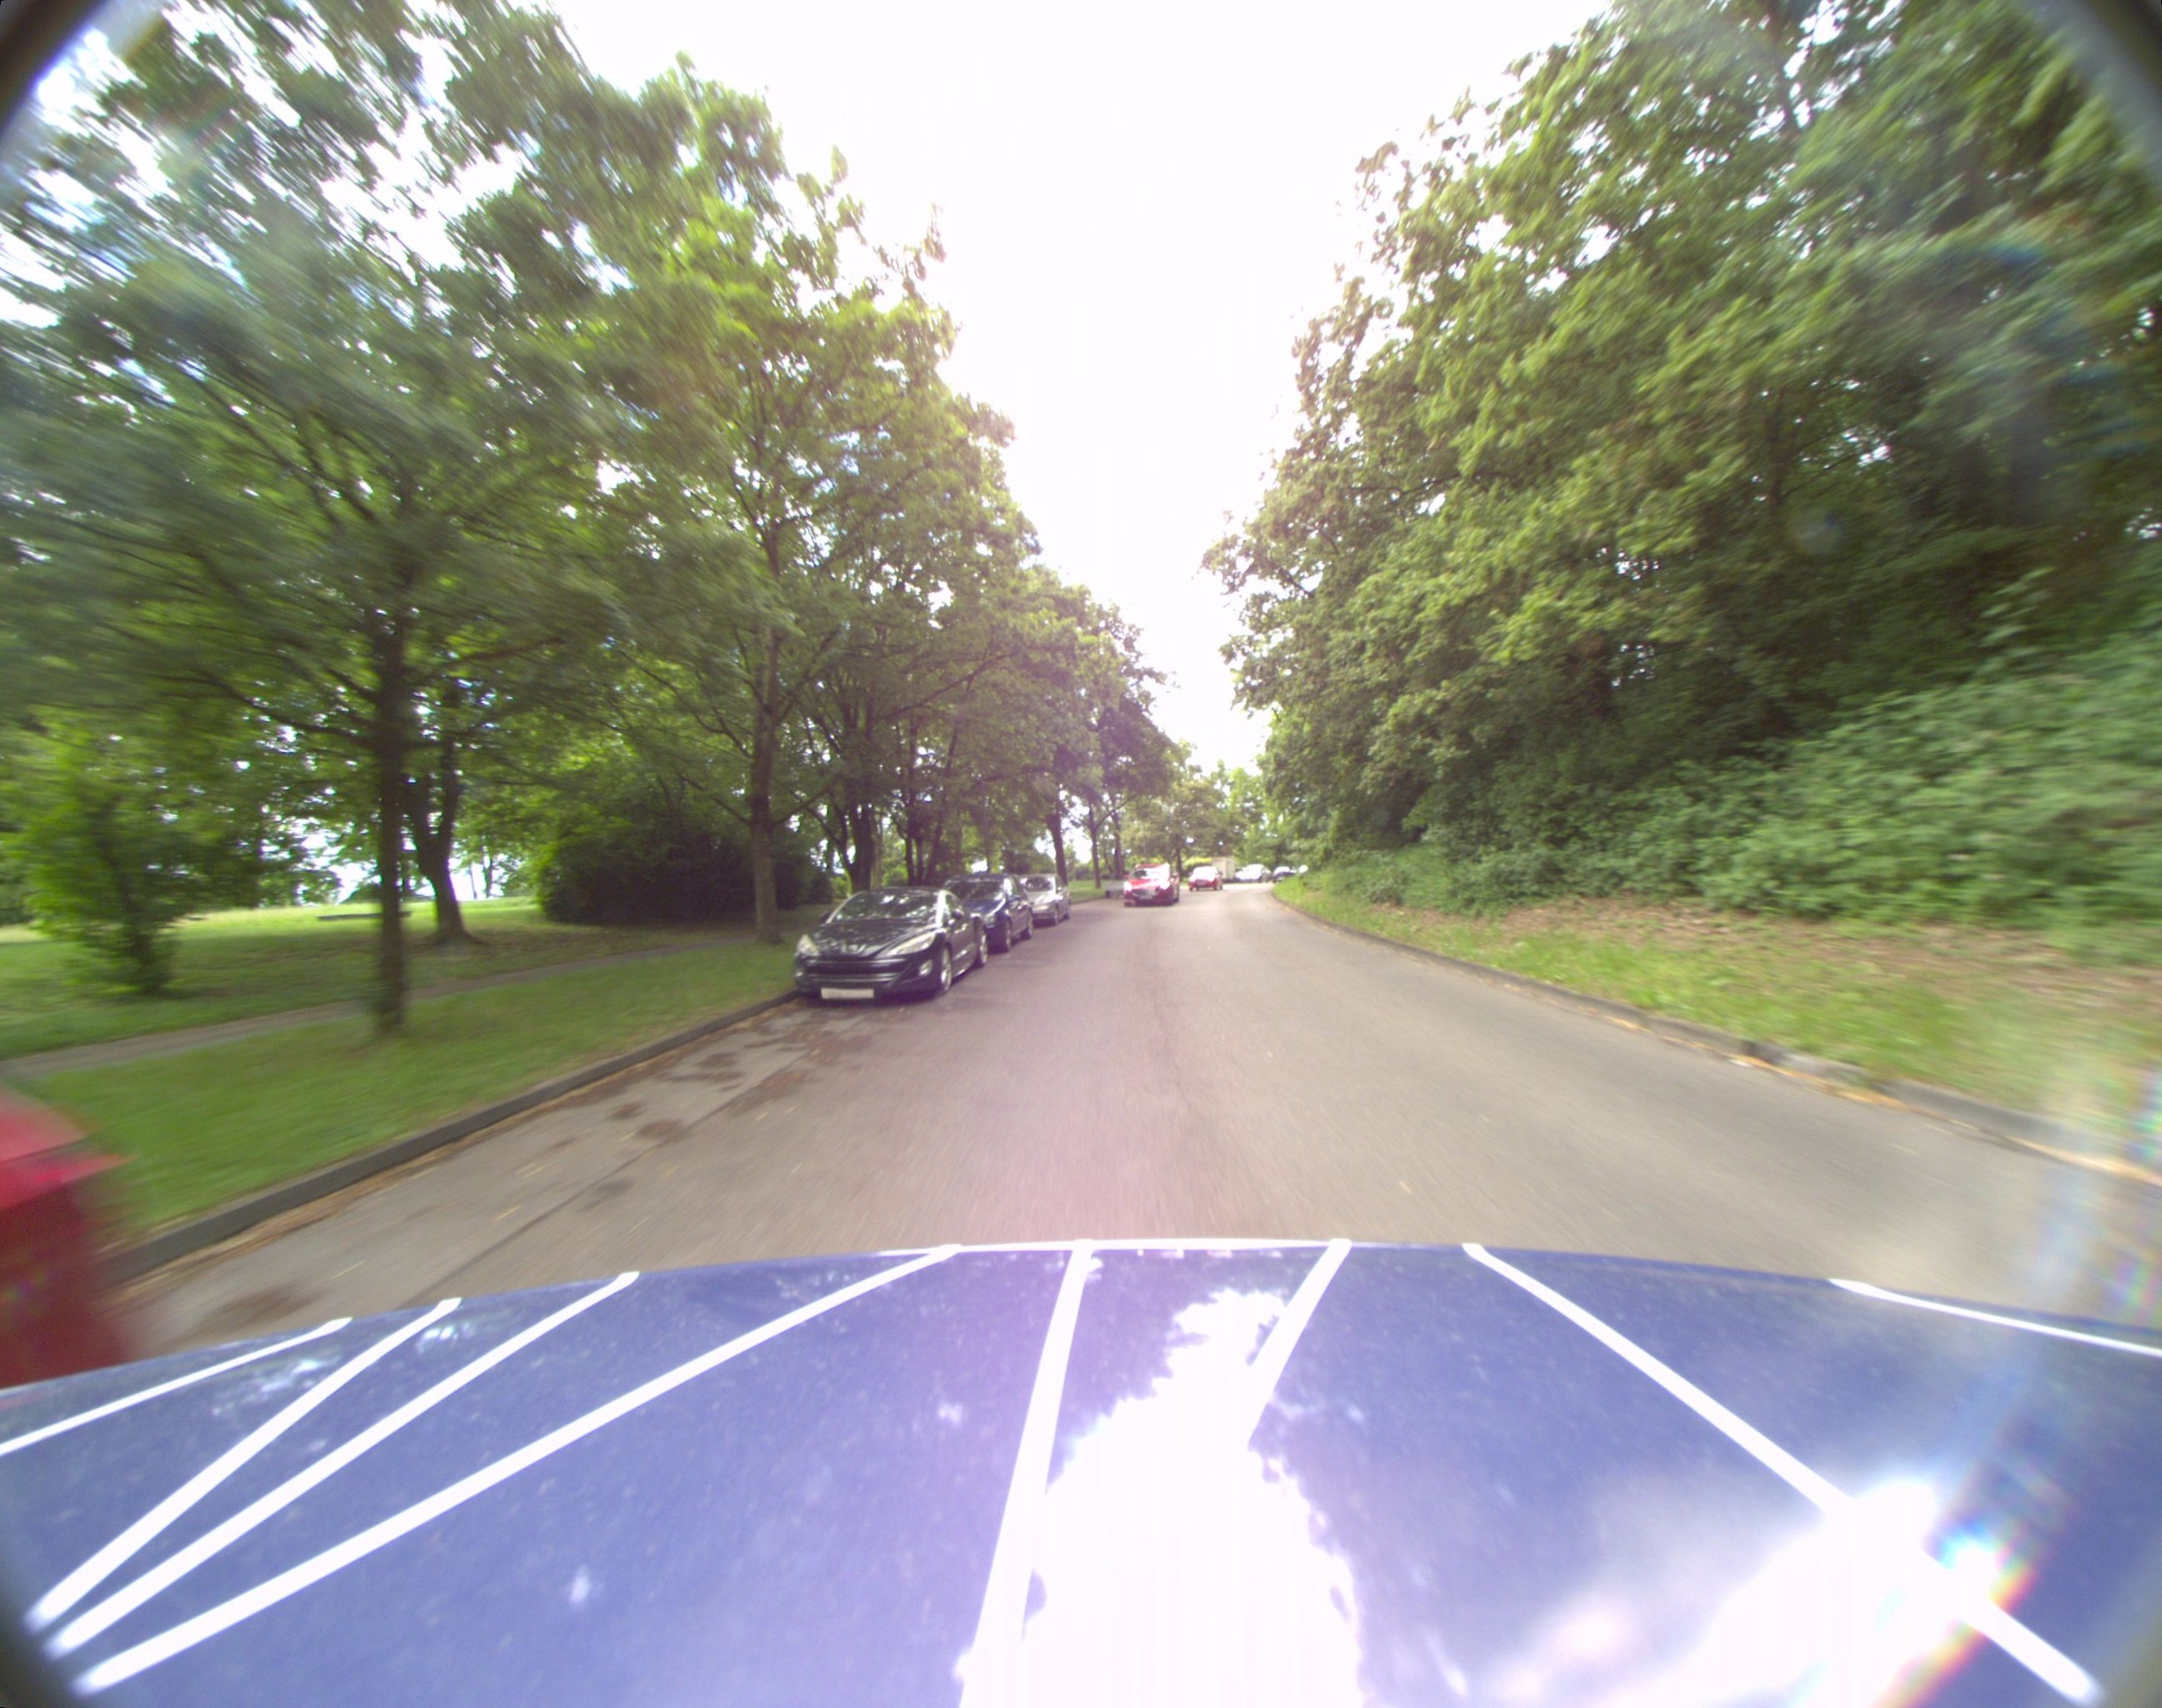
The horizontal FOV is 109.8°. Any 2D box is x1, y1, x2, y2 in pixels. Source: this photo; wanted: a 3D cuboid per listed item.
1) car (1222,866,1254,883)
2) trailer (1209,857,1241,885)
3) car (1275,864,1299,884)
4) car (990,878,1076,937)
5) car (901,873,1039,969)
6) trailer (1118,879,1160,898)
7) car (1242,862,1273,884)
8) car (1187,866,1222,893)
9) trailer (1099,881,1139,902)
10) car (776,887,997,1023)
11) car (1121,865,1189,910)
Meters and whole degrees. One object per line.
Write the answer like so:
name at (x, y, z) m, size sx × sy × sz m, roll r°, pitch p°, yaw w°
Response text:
car at (15.120, 1.971, 72.998) m, size 1.742 × 1.516 × 4.644 m, roll -2°, pitch -1°, yaw 27°
trailer at (12.914, 1.476, 68.000) m, size 1.762 × 2.412 × 3.894 m, roll -2°, pitch -1°, yaw 26°
car at (17.277, 1.653, 63.802) m, size 1.794 × 1.380 × 4.496 m, roll -4°, pitch -1°, yaw 14°
car at (-1.279, 1.471, 21.900) m, size 1.721 × 1.423 × 3.951 m, roll -1°, pitch 0°, yaw 7°
car at (-2.089, 1.241, 15.546) m, size 1.718 × 1.500 × 4.183 m, roll -4°, pitch -1°, yaw 6°
trailer at (3.439, 1.995, 44.495) m, size 1.359 × 0.963 × 3.899 m, roll -4°, pitch -2°, yaw 21°
car at (15.361, 1.608, 66.046) m, size 1.920 × 1.671 × 4.006 m, roll -2°, pitch 1°, yaw 22°
car at (7.772, 1.579, 47.961) m, size 1.866 × 1.440 × 4.176 m, roll 1°, pitch 2°, yaw 5°
trailer at (2.023, 1.933, 39.901) m, size 1.365 × 0.842 × 3.282 m, roll -4°, pitch -1°, yaw 15°
car at (-2.444, 1.239, 10.784) m, size 1.754 × 1.329 × 4.417 m, roll -3°, pitch -1°, yaw 3°
car at (3.079, 1.312, 30.710) m, size 1.996 × 1.618 × 4.632 m, roll -3°, pitch -2°, yaw 14°
